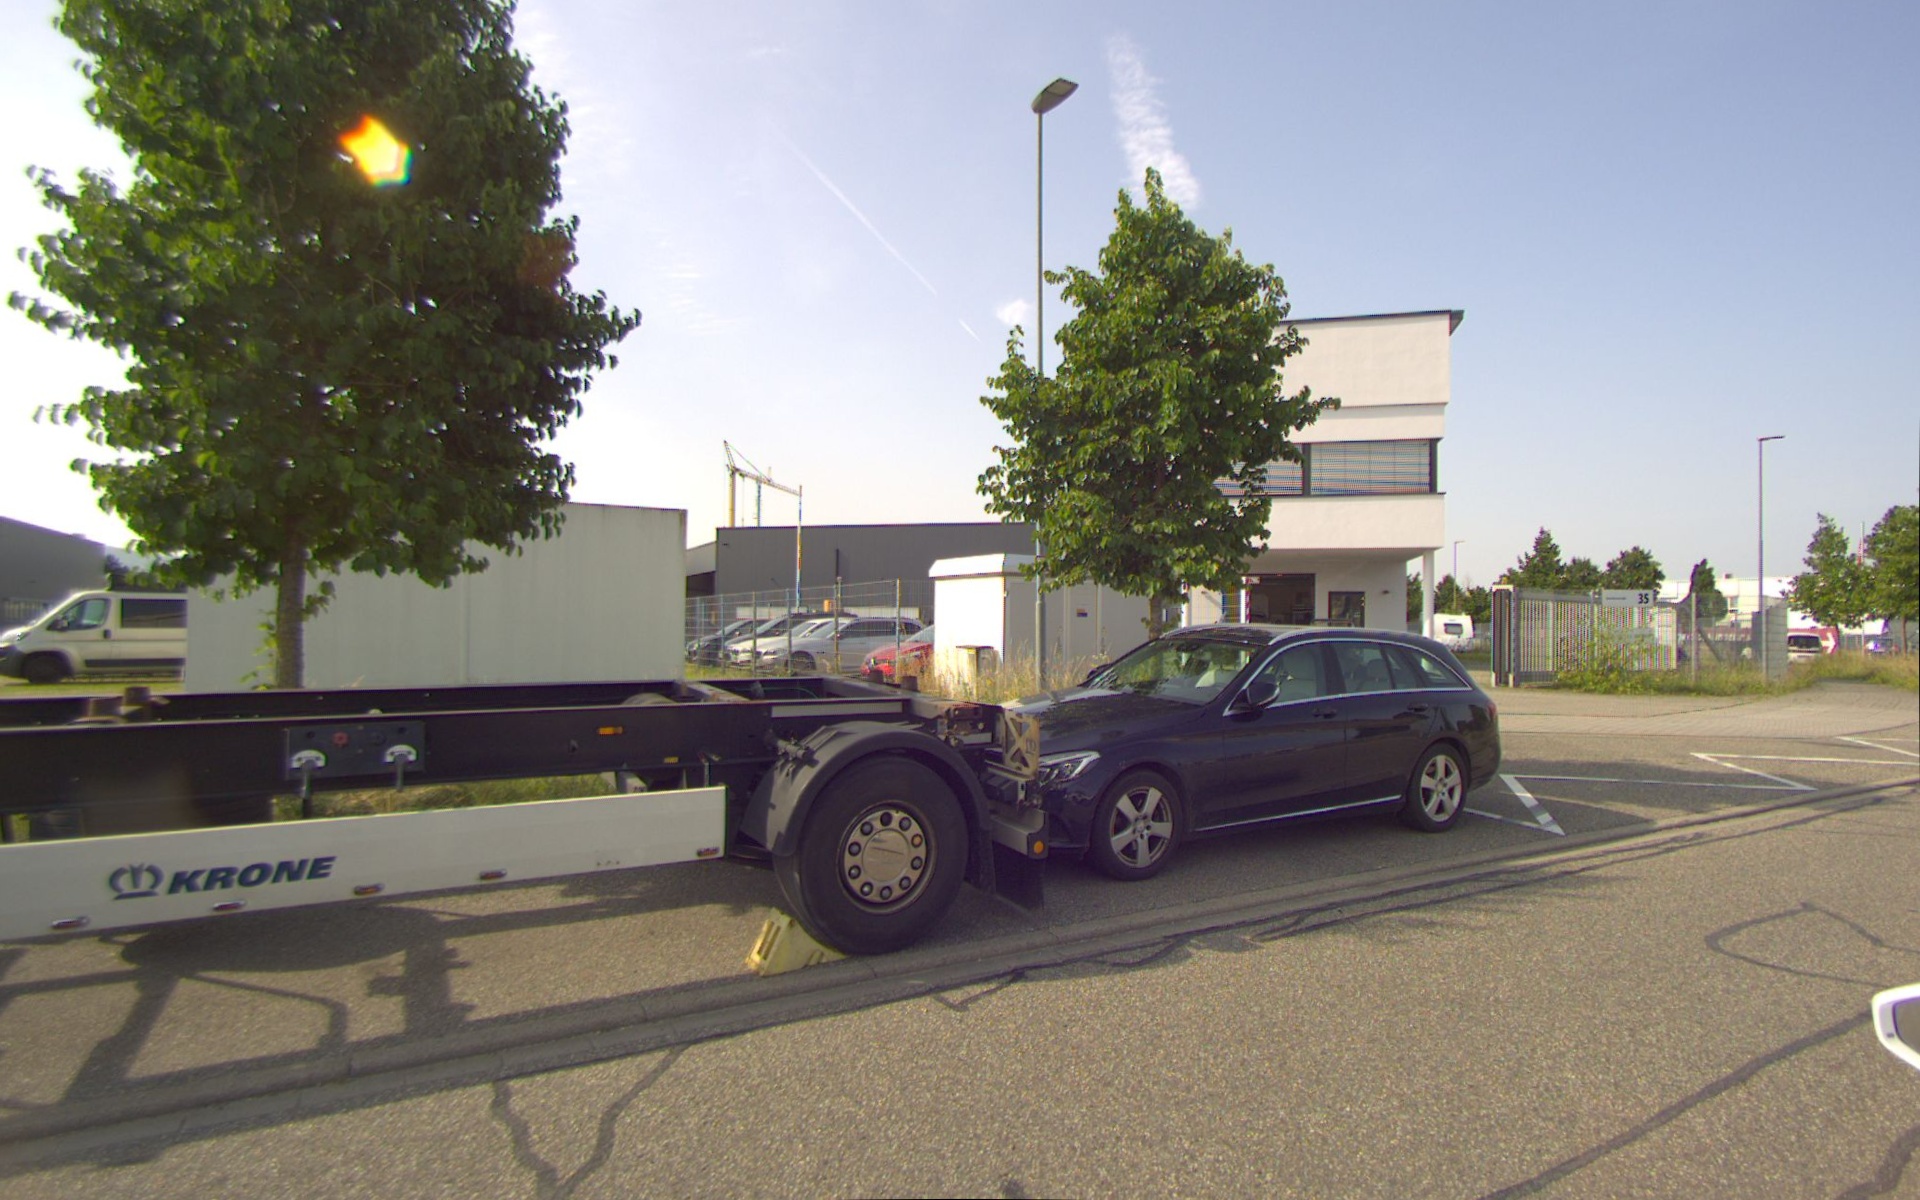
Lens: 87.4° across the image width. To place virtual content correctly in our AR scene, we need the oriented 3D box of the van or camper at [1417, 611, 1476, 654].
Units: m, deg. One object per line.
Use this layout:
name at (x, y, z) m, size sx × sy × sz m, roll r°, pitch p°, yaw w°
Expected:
van or camper at (30.857, 2.038, 63.863) m, size 2.266 × 2.594 × 4.957 m, roll 0°, pitch -2°, yaw 12°

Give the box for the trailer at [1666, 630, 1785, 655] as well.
trailer at (48.595, 2.691, 64.177) m, size 2.579 × 1.406 × 9.460 m, roll -2°, pitch -2°, yaw 15°

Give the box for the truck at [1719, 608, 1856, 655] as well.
truck at (74.004, 2.761, 90.129) m, size 2.431 × 4.025 × 9.235 m, roll 1°, pitch -1°, yaw -31°

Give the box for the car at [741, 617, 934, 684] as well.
car at (-3.017, 1.184, 24.981) m, size 4.425 × 1.514 × 1.824 m, roll 0°, pitch -1°, yaw -31°

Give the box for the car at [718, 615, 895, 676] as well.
car at (-4.172, 1.190, 27.444) m, size 4.425 × 1.514 × 1.926 m, roll 0°, pitch -1°, yaw -31°

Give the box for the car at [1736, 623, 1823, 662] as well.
car at (42.304, 2.168, 51.979) m, size 1.960 × 1.924 × 4.469 m, roll 0°, pitch -1°, yaw 17°

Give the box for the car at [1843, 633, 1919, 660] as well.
car at (53.555, 2.651, 57.904) m, size 3.932 × 1.496 × 2.167 m, roll 1°, pitch -1°, yaw -14°

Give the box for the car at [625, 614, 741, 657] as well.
car at (-11.794, 1.499, 42.841) m, size 4.408 × 1.750 × 1.972 m, roll 1°, pitch -2°, yaw -34°

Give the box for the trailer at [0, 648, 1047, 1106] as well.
trailer at (-3.156, 0.912, 4.138) m, size 7.071 × 1.249 × 2.120 m, roll 1°, pitch 0°, yaw -30°

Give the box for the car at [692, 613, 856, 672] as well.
car at (-5.500, 1.203, 29.788) m, size 4.425 × 1.625 × 1.926 m, roll 0°, pitch -1°, yaw -31°

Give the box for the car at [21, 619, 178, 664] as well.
car at (-30.308, 1.437, 35.503) m, size 4.119 × 1.500 × 1.561 m, roll 1°, pitch -2°, yaw -41°

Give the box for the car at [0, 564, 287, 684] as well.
car at (-19.588, 0.633, 24.141) m, size 5.417 × 2.580 × 2.033 m, roll 3°, pitch -3°, yaw -41°

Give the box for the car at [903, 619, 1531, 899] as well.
car at (1.972, 0.920, 7.468) m, size 4.378 × 1.486 × 1.985 m, roll 1°, pitch 0°, yaw -29°

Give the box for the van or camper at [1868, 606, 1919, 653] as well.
van or camper at (64.883, 1.980, 68.273) m, size 6.709 × 3.125 × 2.652 m, roll 1°, pitch -1°, yaw -28°

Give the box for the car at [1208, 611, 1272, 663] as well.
car at (8.887, 1.148, 31.862) m, size 1.831 × 1.507 × 4.002 m, roll 0°, pitch -1°, yaw 16°

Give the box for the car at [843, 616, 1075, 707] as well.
car at (0.044, 1.102, 19.342) m, size 4.261 × 1.545 × 1.759 m, roll 0°, pitch -1°, yaw -35°

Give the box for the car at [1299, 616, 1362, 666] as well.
car at (11.567, 1.254, 31.502) m, size 1.532 × 1.434 × 3.923 m, roll 0°, pitch -1°, yaw 16°
